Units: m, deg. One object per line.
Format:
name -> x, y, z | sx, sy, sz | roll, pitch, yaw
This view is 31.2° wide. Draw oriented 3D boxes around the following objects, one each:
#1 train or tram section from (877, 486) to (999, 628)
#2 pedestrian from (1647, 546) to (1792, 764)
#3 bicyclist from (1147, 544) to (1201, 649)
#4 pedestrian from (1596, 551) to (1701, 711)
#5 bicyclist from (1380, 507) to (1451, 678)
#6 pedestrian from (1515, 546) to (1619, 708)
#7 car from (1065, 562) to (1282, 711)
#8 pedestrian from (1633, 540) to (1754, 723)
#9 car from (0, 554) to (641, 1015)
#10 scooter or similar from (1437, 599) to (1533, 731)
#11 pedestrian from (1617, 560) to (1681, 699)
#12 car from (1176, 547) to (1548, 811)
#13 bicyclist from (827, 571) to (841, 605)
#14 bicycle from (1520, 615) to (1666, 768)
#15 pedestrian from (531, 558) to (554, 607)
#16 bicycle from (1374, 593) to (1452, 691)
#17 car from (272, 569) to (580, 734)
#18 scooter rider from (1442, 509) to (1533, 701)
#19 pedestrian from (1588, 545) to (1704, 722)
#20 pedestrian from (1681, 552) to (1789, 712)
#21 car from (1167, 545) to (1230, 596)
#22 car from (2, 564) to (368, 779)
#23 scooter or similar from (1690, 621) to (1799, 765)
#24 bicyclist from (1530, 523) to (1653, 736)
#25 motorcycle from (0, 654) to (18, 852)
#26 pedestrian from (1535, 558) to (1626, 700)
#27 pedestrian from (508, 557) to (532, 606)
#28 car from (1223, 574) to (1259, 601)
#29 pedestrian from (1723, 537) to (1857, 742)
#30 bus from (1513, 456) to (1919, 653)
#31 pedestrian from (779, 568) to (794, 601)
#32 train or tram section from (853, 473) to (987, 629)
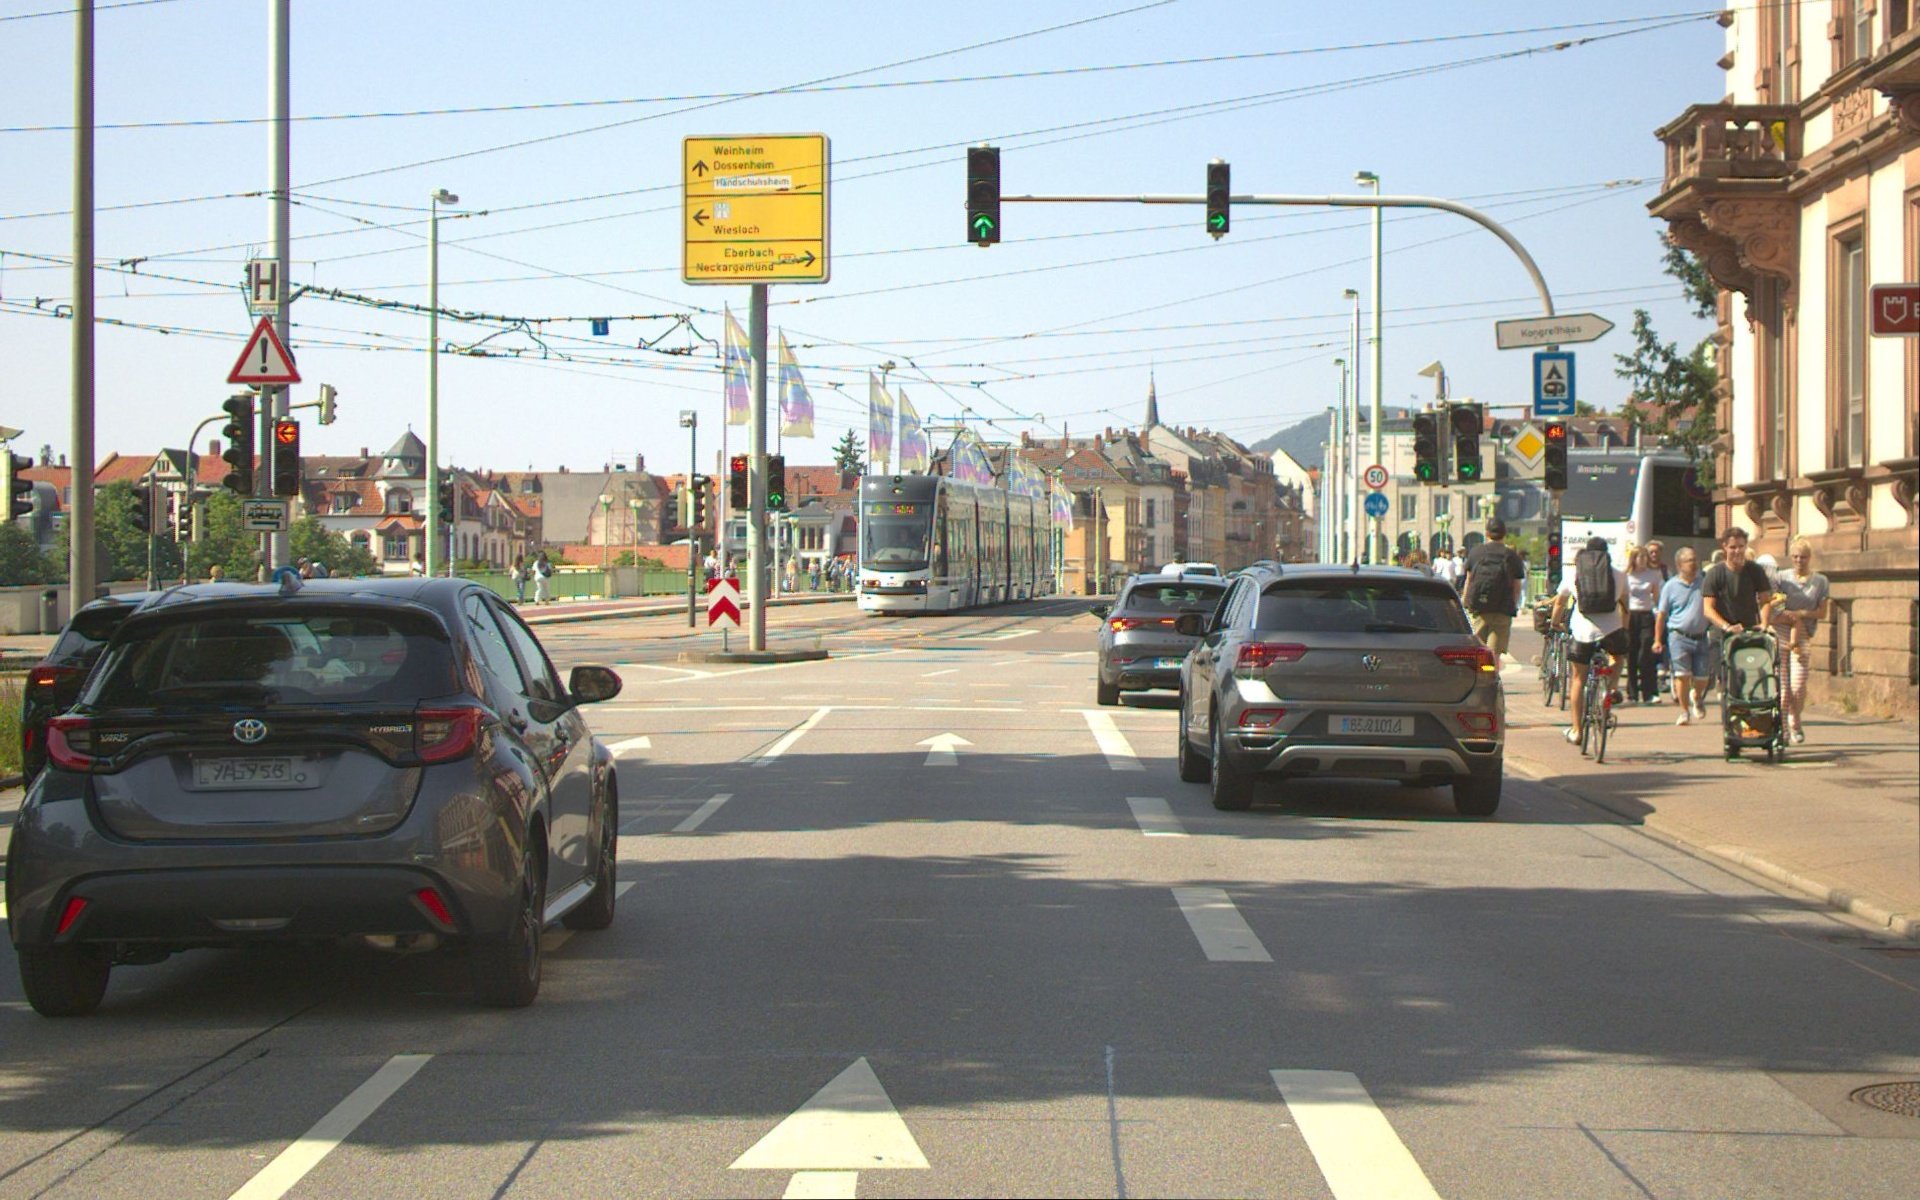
train or tram section -> -0.562, -1.210, 98.041 | 2.823, 3.764, 8.225 | 2, 0, 3
pedestrian -> 5.916, 0.420, 26.812 | 0.862, 1.634, 0.875 | 2, 0, 0
bicyclist -> 3.281, -0.048, 52.832 | 0.688, 1.571, 1.049 | 2, 0, 0
pedestrian -> 7.251, 0.321, 36.257 | 0.862, 1.634, 0.875 | 2, 0, 0
bicyclist -> 5.339, -0.086, 40.307 | 0.688, 1.955, 0.778 | 2, 0, 3
pedestrian -> 6.331, 0.280, 35.888 | 0.862, 1.634, 0.875 | 2, 0, 0
car -> 2.312, 0.389, 38.286 | 1.993, 1.487, 4.000 | 2, 0, -2
pedestrian -> 6.777, 0.286, 31.794 | 0.862, 1.634, 0.875 | 2, 0, 0
car -> -2.281, 0.606, 13.089 | 1.777, 1.470, 4.000 | 0, 0, 0
scooter or similar -> 4.837, 0.591, 31.759 | 0.688, 1.163, 1.463 | 2, 0, 3
pedestrian -> 8.289, 0.354, 41.397 | 0.576, 1.634, 0.611 | 2, 0, 0
car -> 2.515, 0.475, 22.445 | 1.873, 1.487, 4.000 | 2, 0, 0
bicyclist -> -5.716, -0.534, 155.632 | 0.558, 1.531, 0.743 | 2, 0, -1
bicycle -> 4.803, 0.674, 26.192 | 0.734, 1.089, 1.898 | 2, 0, 1
pedestrian -> -12.450, -0.521, 102.499 | 0.558, 1.411, 0.636 | 2, 0, -1
bicycle -> 5.310, 0.487, 40.396 | 0.734, 1.089, 1.897 | 2, 0, 4
car -> -4.822, 0.454, 31.612 | 2.037, 1.328, 4.000 | 2, 0, 2
scooter rider -> 4.879, 0.049, 31.810 | 0.688, 1.723, 0.778 | 2, 0, 3
pedestrian -> 6.533, 0.318, 32.779 | 0.862, 1.634, 0.875 | 2, 0, 0
pedestrian -> 8.169, 0.335, 36.270 | 0.862, 1.634, 0.875 | 2, 0, 0
car -> 7.710, -0.939, 111.474 | 1.859, 1.502, 4.000 | 2, 0, 2
car -> -5.261, 0.461, 23.797 | 1.452, 1.296, 4.000 | 2, 0, 2
scooter or similar -> 5.951, 0.698, 26.108 | 0.600, 1.044, 0.799 | 2, 0, -1
bicyclist -> 4.818, 0.224, 26.292 | 0.688, 1.571, 1.049 | 2, 0, 1
motorcycle -> -5.530, 0.845, 18.003 | 0.698, 1.060, 1.910 | -1, 0, -2
pedestrian -> 7.377, 0.343, 40.909 | 0.862, 1.634, 0.875 | 2, 0, 0
pedestrian -> -13.116, -0.550, 102.510 | 0.558, 1.411, 0.636 | 2, 0, -1
car -> 16.598, -0.730, 202.953 | 1.859, 1.502, 4.000 | 2, 0, 2
pedestrian -> 6.714, 0.309, 27.841 | 0.862, 1.634, 0.876 | 0, 1, 0
bus -> 13.238, -0.628, 54.796 | 8.611, 2.767, 2.979 | 3, 0, -29
pedestrian -> -7.521, -0.660, 149.194 | 0.558, 1.411, 0.636 | 2, 0, -1
train or tram section -> -0.977, -1.255, 89.884 | 2.823, 3.764, 8.225 | 2, 0, 3
